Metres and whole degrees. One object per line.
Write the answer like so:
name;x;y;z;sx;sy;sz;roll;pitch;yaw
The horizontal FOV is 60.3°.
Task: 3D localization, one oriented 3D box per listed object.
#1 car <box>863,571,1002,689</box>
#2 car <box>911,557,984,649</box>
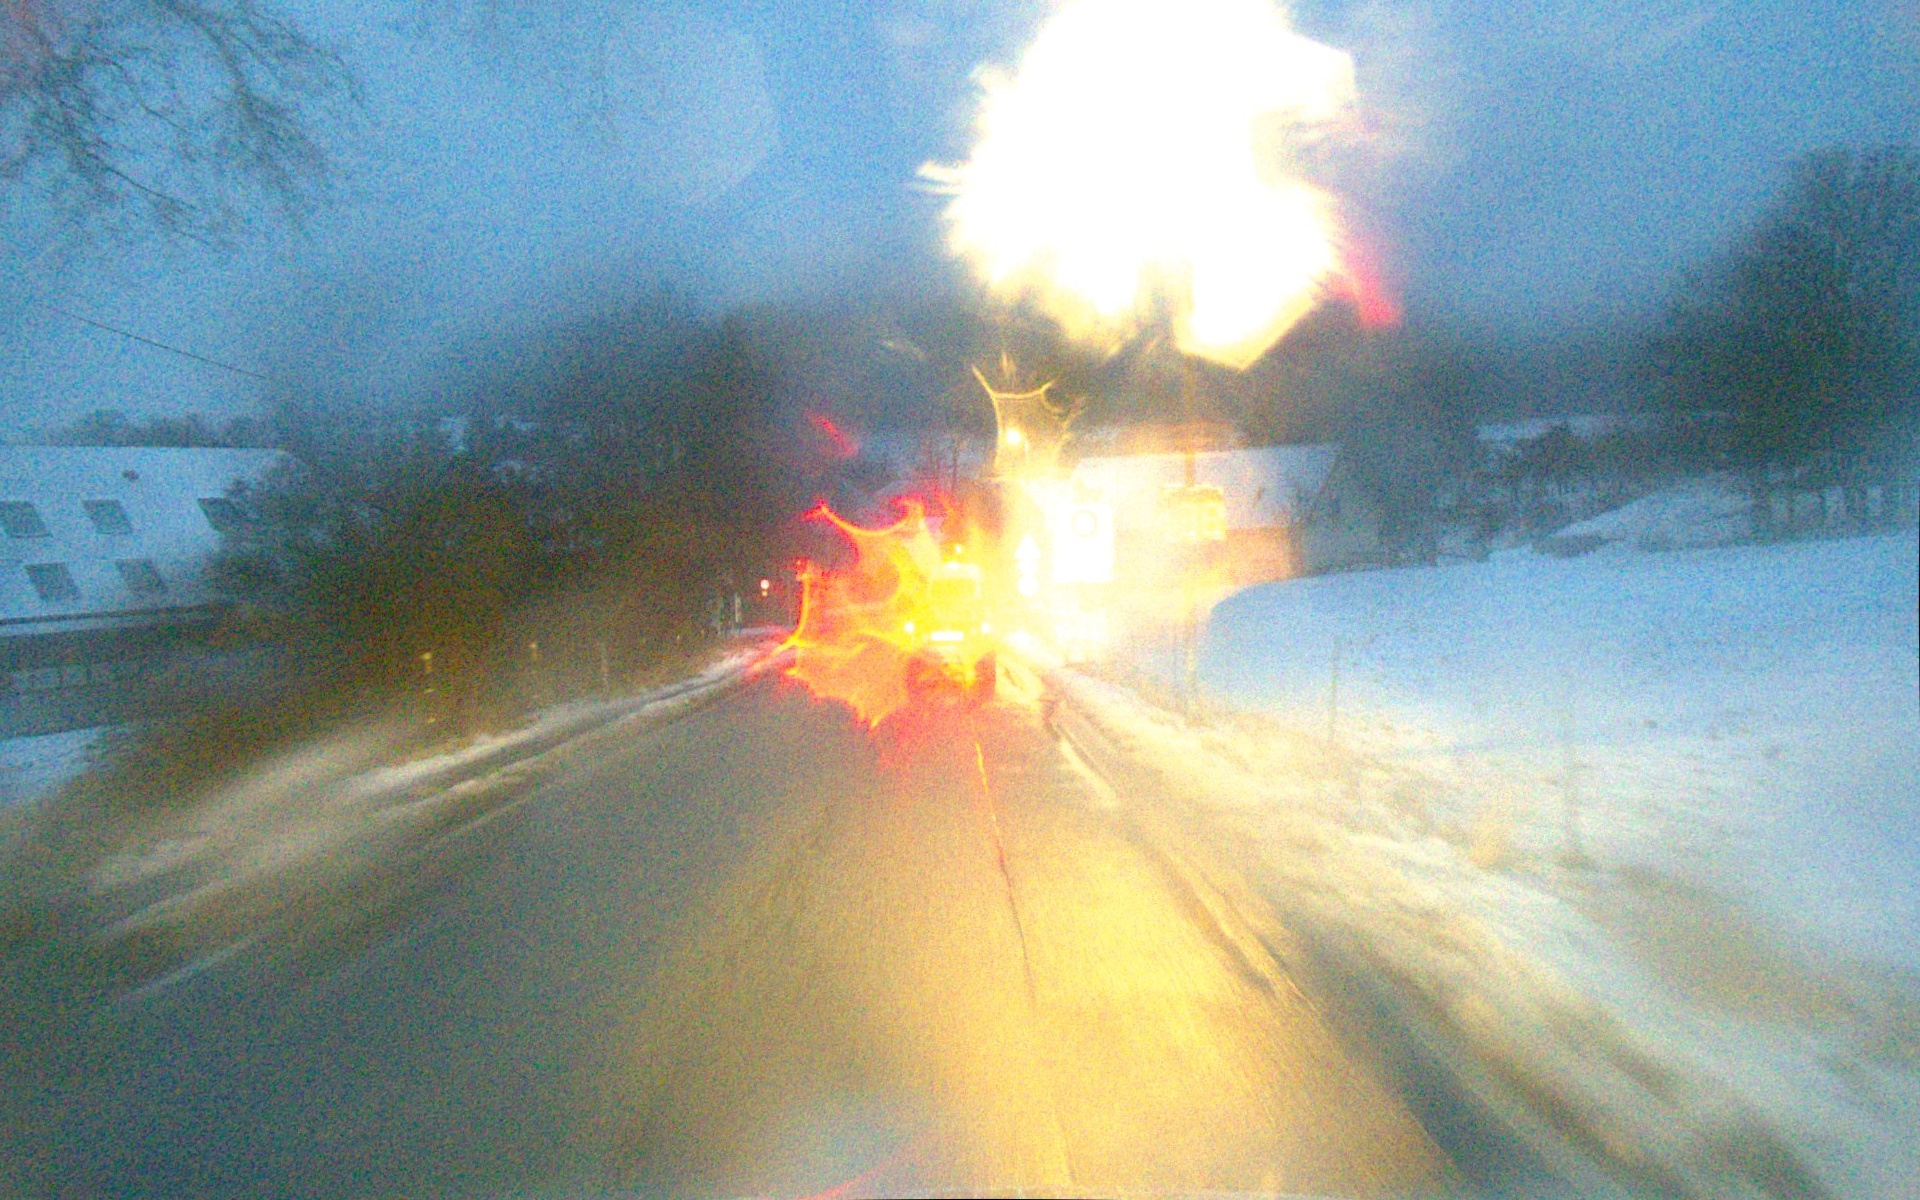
car;-0.521;0.483;29.534;2.228;1.873;5.005;-1;0;-2
car;-0.430;0.154;59.755;2.385;3.071;5.324;-3;-1;0
